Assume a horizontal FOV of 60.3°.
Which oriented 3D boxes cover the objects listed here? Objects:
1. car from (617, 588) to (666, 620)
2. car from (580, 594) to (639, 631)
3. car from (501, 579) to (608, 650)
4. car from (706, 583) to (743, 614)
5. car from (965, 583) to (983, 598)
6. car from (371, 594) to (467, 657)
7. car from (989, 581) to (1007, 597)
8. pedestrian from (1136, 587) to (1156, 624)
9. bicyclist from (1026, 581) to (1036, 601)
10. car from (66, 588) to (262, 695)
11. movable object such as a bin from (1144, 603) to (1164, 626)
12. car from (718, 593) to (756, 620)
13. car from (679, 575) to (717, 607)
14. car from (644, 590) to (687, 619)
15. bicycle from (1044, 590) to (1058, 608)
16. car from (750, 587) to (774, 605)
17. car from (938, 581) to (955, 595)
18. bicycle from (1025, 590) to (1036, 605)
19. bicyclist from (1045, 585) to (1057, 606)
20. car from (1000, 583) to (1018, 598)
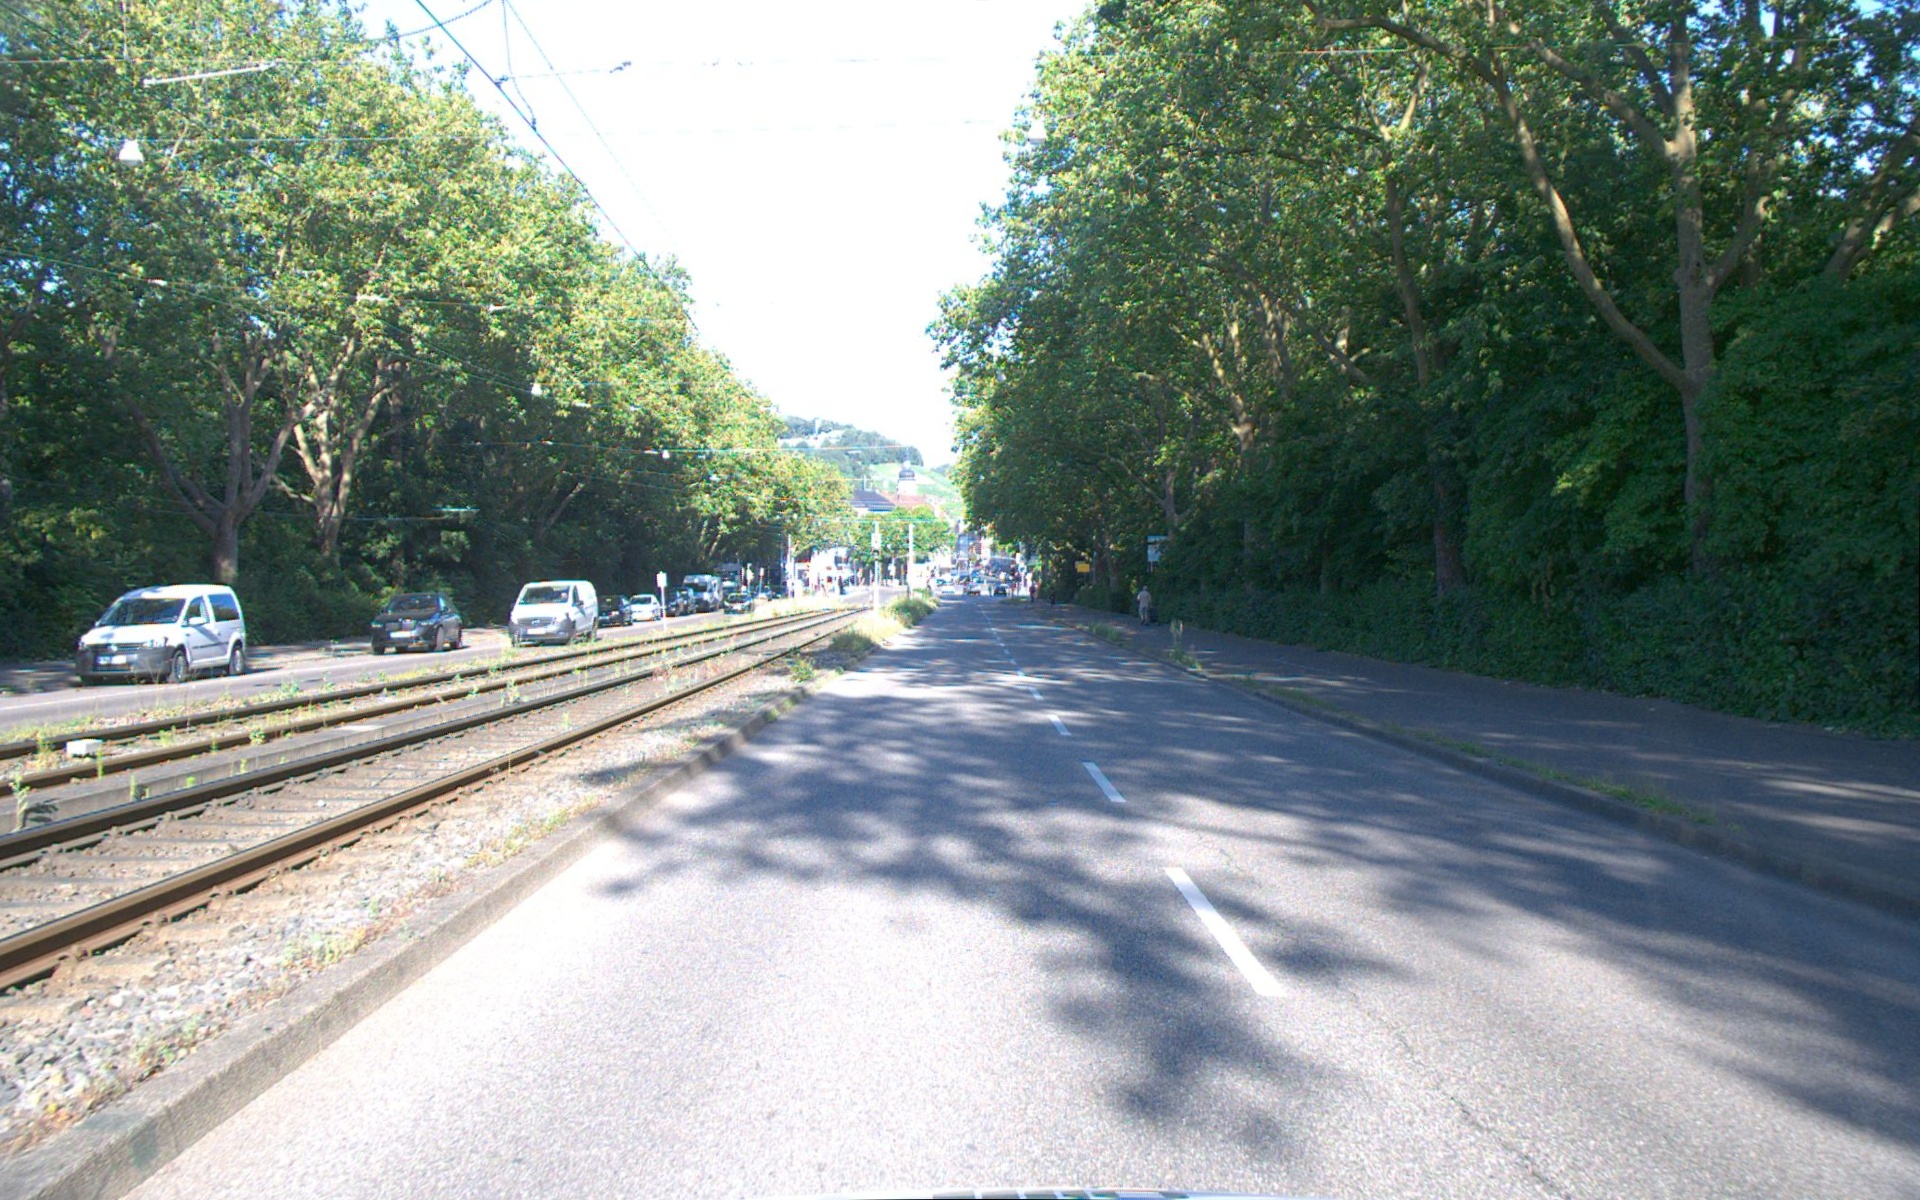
[{"bbox_3d":[-17.539,0.196,91.315,1.953,1.726,4.742,-1,0,-2],"label":"car"},{"bbox_3d":[-16.852,0.588,79.716,1.953,1.726,4.742,-1,0,-2],"label":"car"},{"bbox_3d":[-12.291,0.403,50.504,1.954,1.876,5.299,-5,0,-2],"label":"car"},{"bbox_3d":[-19.861,-0.147,139.709,2.345,2.567,5.899,0,0,0],"label":"car"},{"bbox_3d":[1.943,-1.343,226.774,2.345,2.034,5.305,0,0,0],"label":"car"},{"bbox_3d":[-15.342,0.691,47.083,1.708,1.665,3.996,-1,1,-5],"label":"car"},{"bbox_3d":[5.062,-1.453,221.990,2.345,2.034,5.305,0,0,0],"label":"car"},{"bbox_3d":[7.833,0.226,69.642,0.787,1.573,0.814,0,0,3],"label":"pedestrian"},{"bbox_3d":[6.484,-0.817,151.859,0.869,1.805,1.222,0,0,0],"label":"bicyclist"},{"bbox_3d":[-15.206,0.730,31.889,1.707,1.773,4.511,-3,1,-3],"label":"car"},{"bbox_3d":[8.100,0.598,68.951,0.787,0.964,0.656,0,0,3],"label":"movable object such as a bin"},{"bbox_3d":[-14.489,0.406,107.684,1.953,1.726,4.742,-1,0,-2],"label":"car"},{"bbox_3d":[-18.559,-0.667,117.377,1.953,2.202,5.812,-1,0,-2],"label":"car"},{"bbox_3d":[-18.300,0.286,102.790,1.953,1.726,4.742,-1,0,-2],"label":"car"},{"bbox_3d":[7.068,-0.082,128.389,0.869,1.344,2.639,0,0,0],"label":"bicycle"},{"bbox_3d":[-19.654,-0.376,164.260,1.953,1.726,4.742,-1,0,-2],"label":"car"},{"bbox_3d":[-1.956,-1.683,236.368,2.345,2.034,5.305,0,0,0],"label":"car"},{"bbox_3d":[6.472,-0.201,152.062,0.869,1.344,2.639,0,0,0],"label":"bicycle"},{"bbox_3d":[7.072,-0.353,128.487,0.869,1.667,1.164,0,0,0],"label":"bicyclist"},{"bbox_3d":[6.892,-1.360,231.475,2.345,2.034,5.305,0,0,0],"label":"car"}]
